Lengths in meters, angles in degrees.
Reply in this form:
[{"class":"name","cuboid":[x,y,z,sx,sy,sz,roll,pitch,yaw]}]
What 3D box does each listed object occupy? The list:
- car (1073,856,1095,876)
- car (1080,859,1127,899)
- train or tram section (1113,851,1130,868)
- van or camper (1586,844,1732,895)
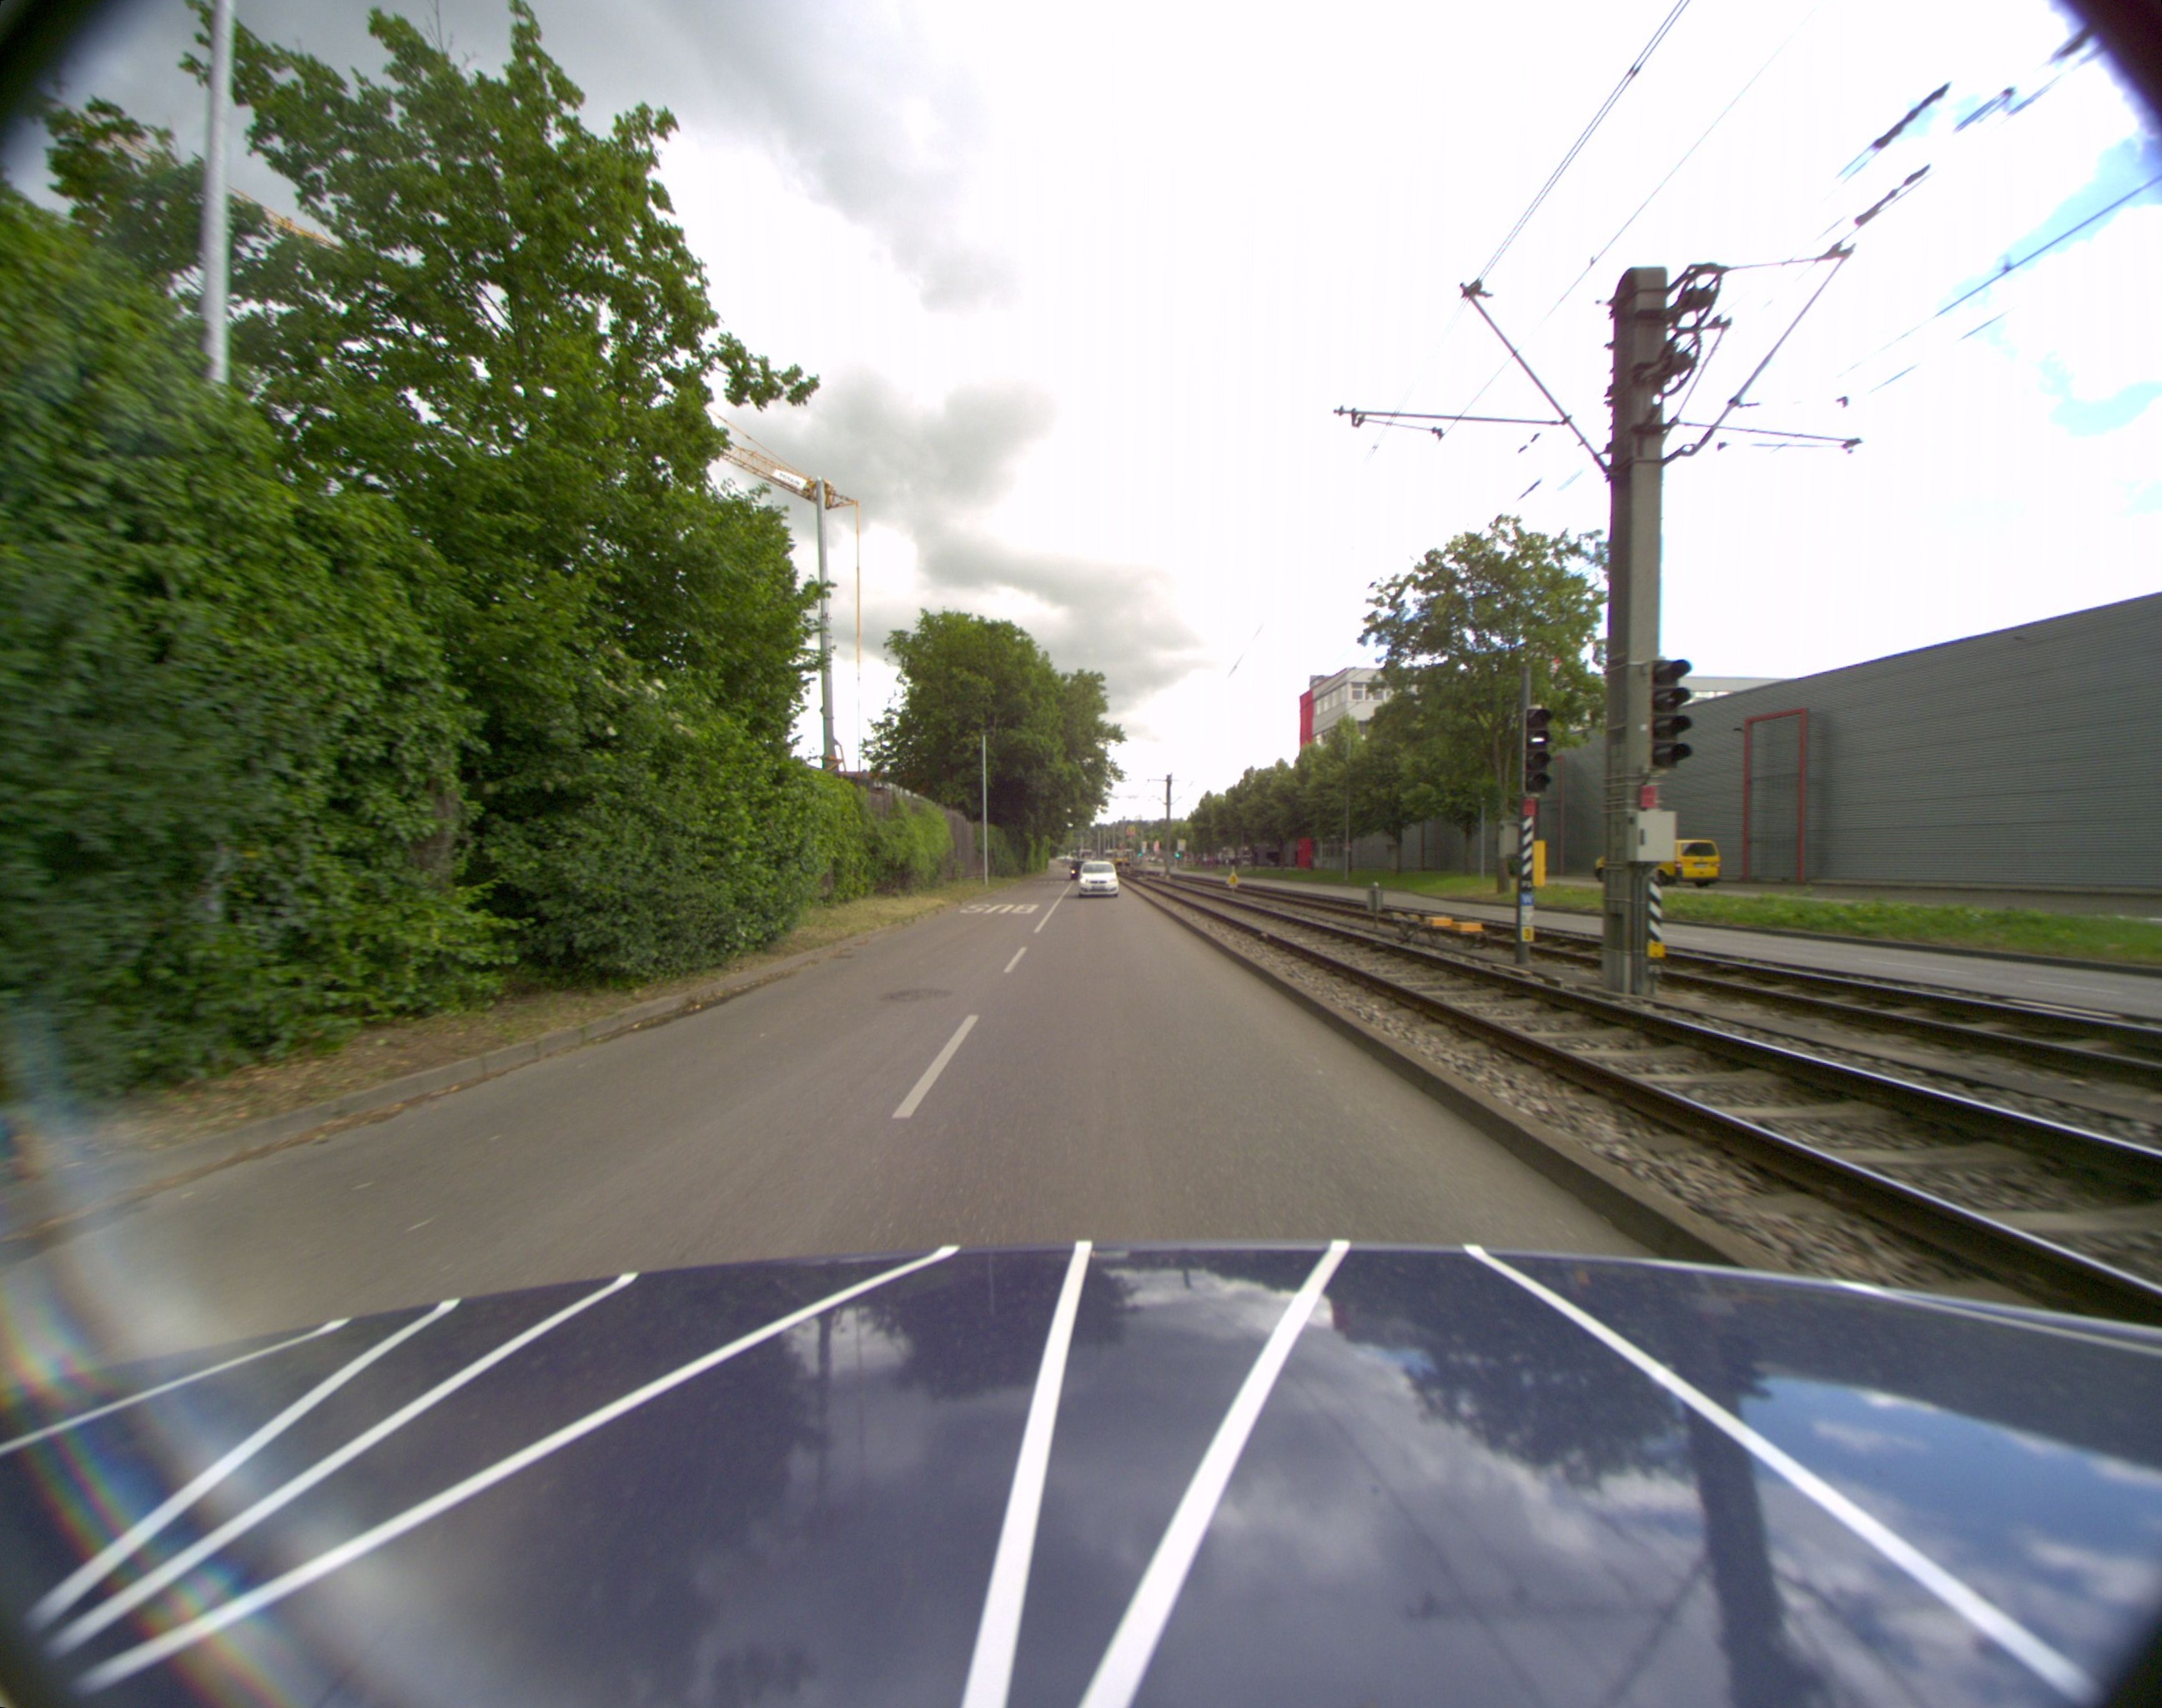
[{"class":"car","cuboid":[0.247,0.935,61.388,1.714,1.586,4.000,0,0,1]},{"class":"car","cuboid":[0.865,0.982,31.260,1.765,1.469,4.031,-1,0,0]},{"class":"train or tram section","cuboid":[9.128,1.279,171.583,2.778,3.753,13.785,0,0,-1]},{"class":"van or camper","cuboid":[24.505,0.610,32.521,2.109,2.002,5.241,0,0,-3]}]
